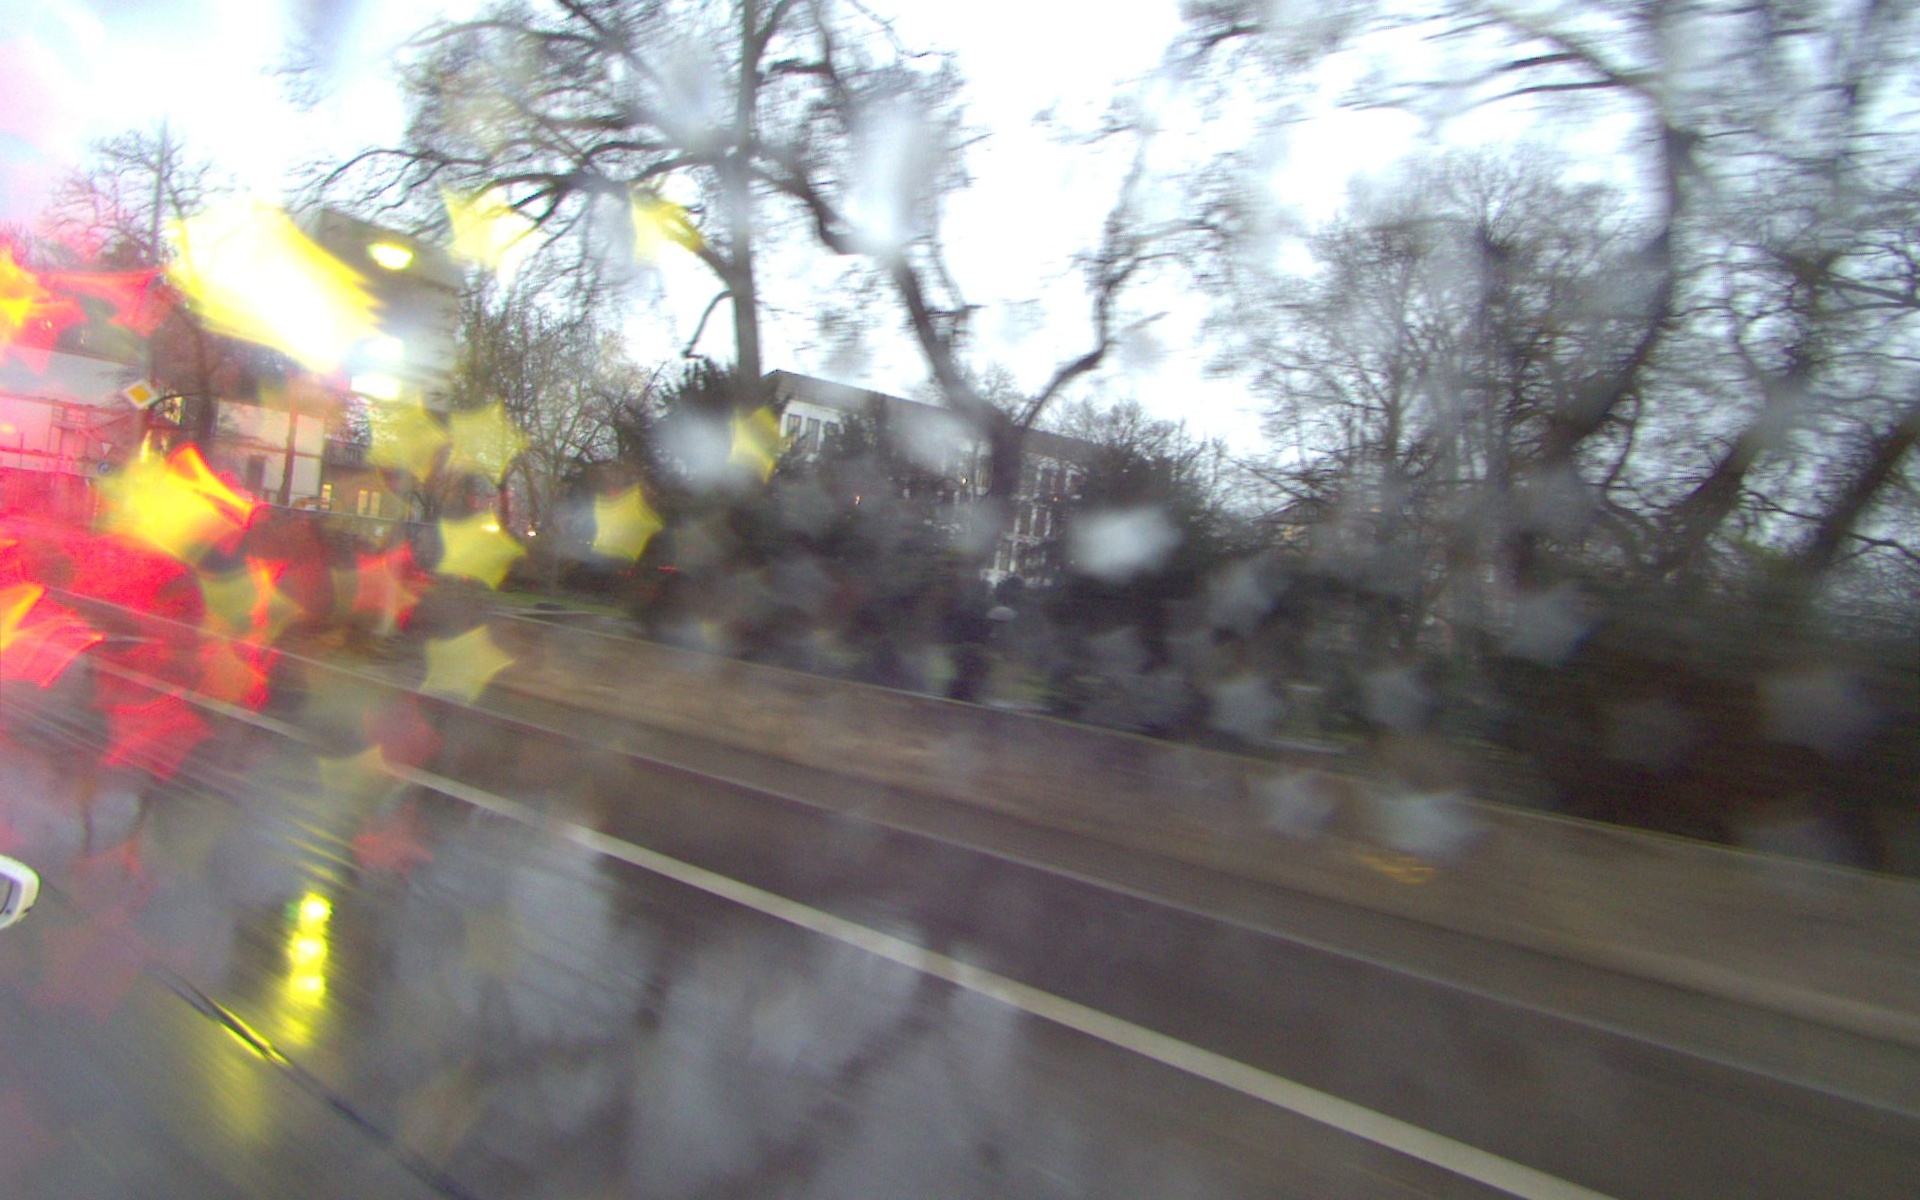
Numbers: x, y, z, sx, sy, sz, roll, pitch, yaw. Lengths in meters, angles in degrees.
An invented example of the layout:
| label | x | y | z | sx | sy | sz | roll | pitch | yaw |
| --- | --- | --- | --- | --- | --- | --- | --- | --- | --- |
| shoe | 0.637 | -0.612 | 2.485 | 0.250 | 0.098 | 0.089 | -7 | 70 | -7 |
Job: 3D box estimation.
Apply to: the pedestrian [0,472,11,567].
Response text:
| label | x | y | z | sx | sy | sz | roll | pitch | yaw |
| --- | --- | --- | --- | --- | --- | --- | --- | --- | --- |
| pedestrian | -21.245 | -1.807 | 21.638 | 0.993 | 2.039 | 0.957 | 7 | 1 | 40 |

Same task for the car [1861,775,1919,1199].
| label | x | y | z | sx | sy | sz | roll | pitch | yaw |
| --- | --- | --- | --- | --- | --- | --- | --- | --- | --- |
| car | 3.796 | 1.160 | 0.326 | 4.855 | 1.575 | 1.865 | 7 | 0 | 31 |

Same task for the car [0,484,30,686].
| label | x | y | z | sx | sy | sz | roll | pitch | yaw |
| --- | --- | --- | --- | --- | --- | --- | --- | --- | --- |
| car | -9.269 | -0.358 | 7.964 | 3.831 | 1.529 | 1.802 | 7 | 0 | 33 |
